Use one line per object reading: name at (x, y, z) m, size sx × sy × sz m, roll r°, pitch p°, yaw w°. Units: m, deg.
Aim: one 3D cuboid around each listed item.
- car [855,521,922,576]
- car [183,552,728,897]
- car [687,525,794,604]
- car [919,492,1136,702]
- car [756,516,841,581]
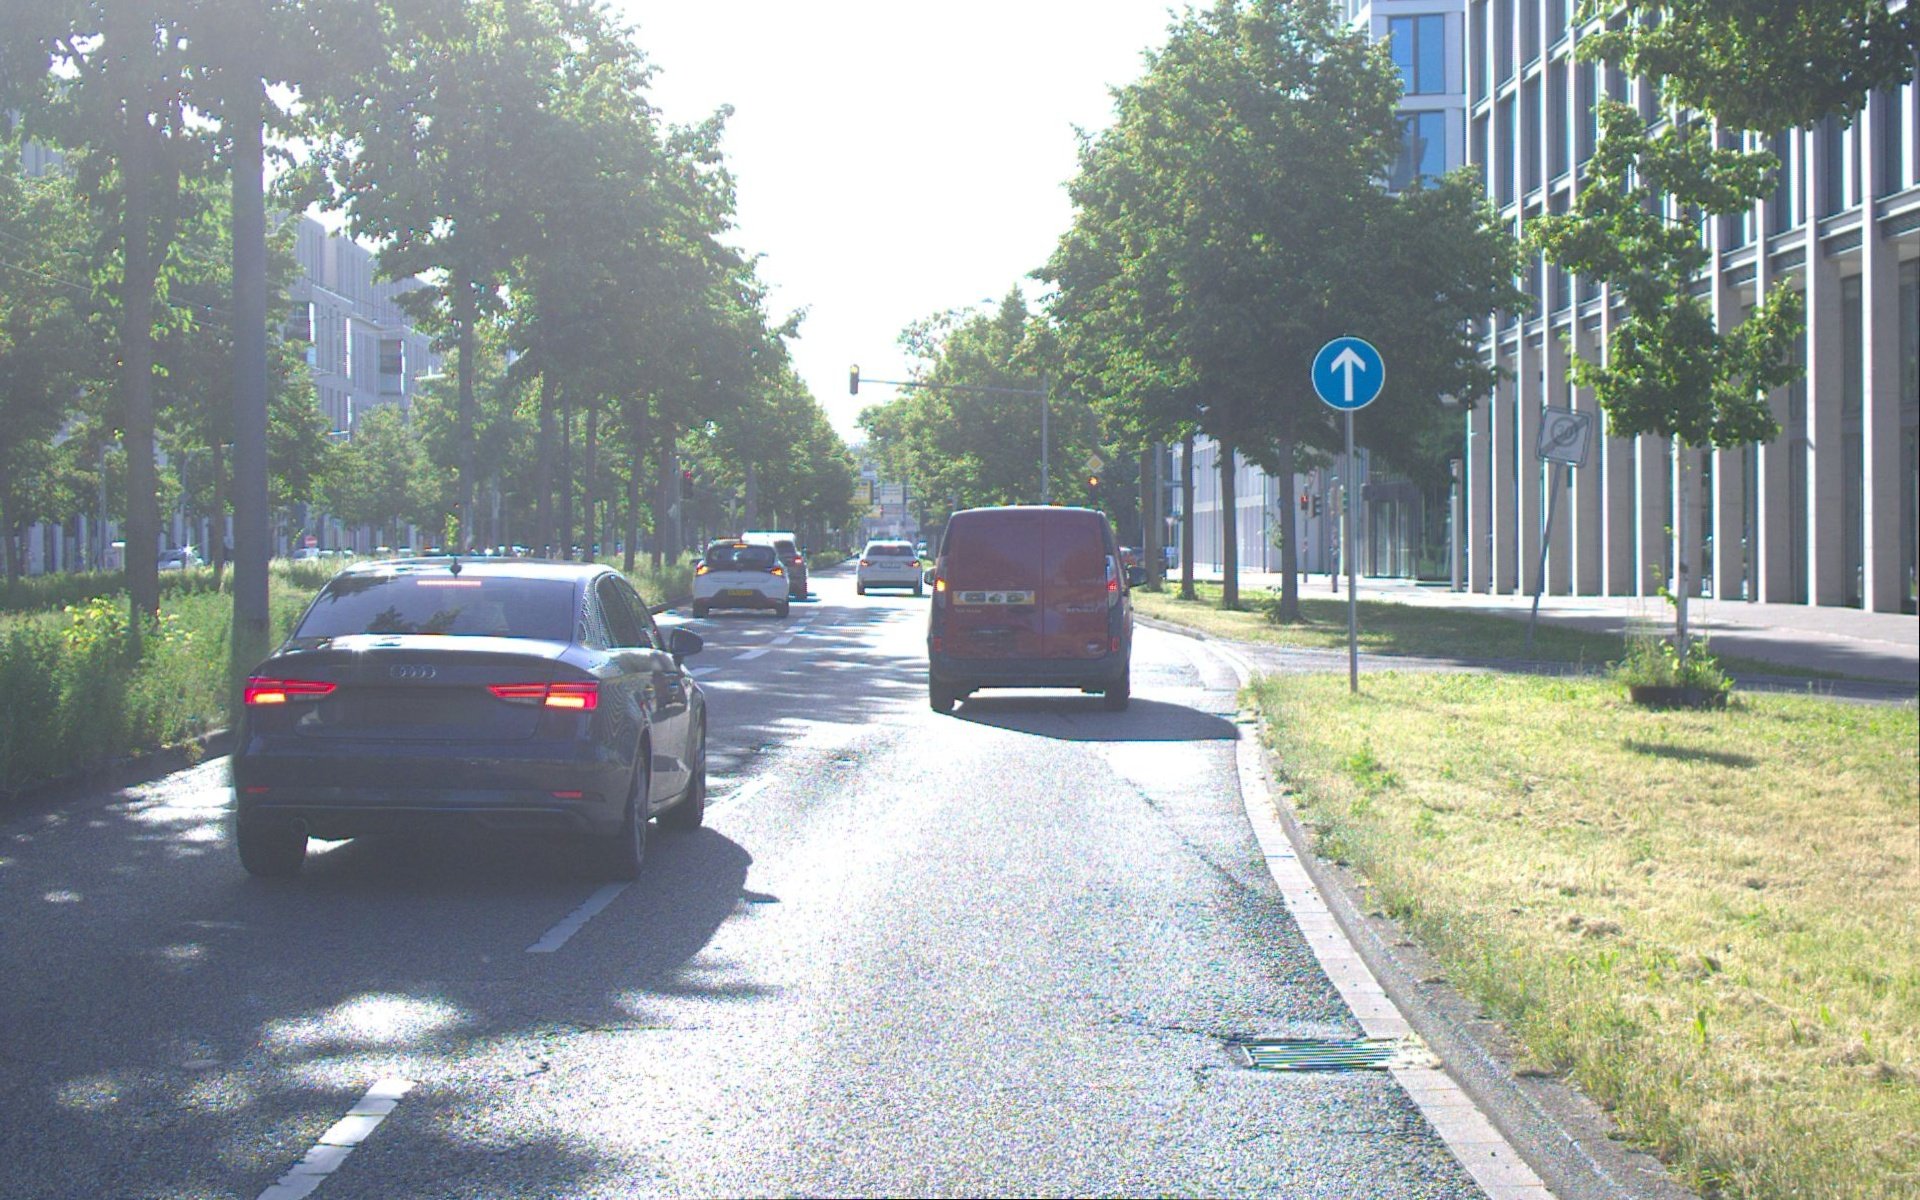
car at (-1.886, -1.378, 90.717) m, size 1.721 × 1.420 × 3.817 m, roll 0°, pitch 1°, yaw -1°
car at (-2.196, 0.475, 16.047) m, size 1.721 × 1.361 × 4.145 m, roll 0°, pitch 1°, yaw 3°
car at (-4.095, -0.696, 64.495) m, size 1.942 × 1.436 × 4.001 m, roll 0°, pitch 1°, yaw -3°
car at (0.550, -0.078, 31.379) m, size 1.797 × 1.771 × 4.001 m, roll 1°, pitch 2°, yaw -1°
car at (-3.879, -1.249, 83.174) m, size 1.843 × 1.529 × 3.940 m, roll 0°, pitch 1°, yaw 0°
